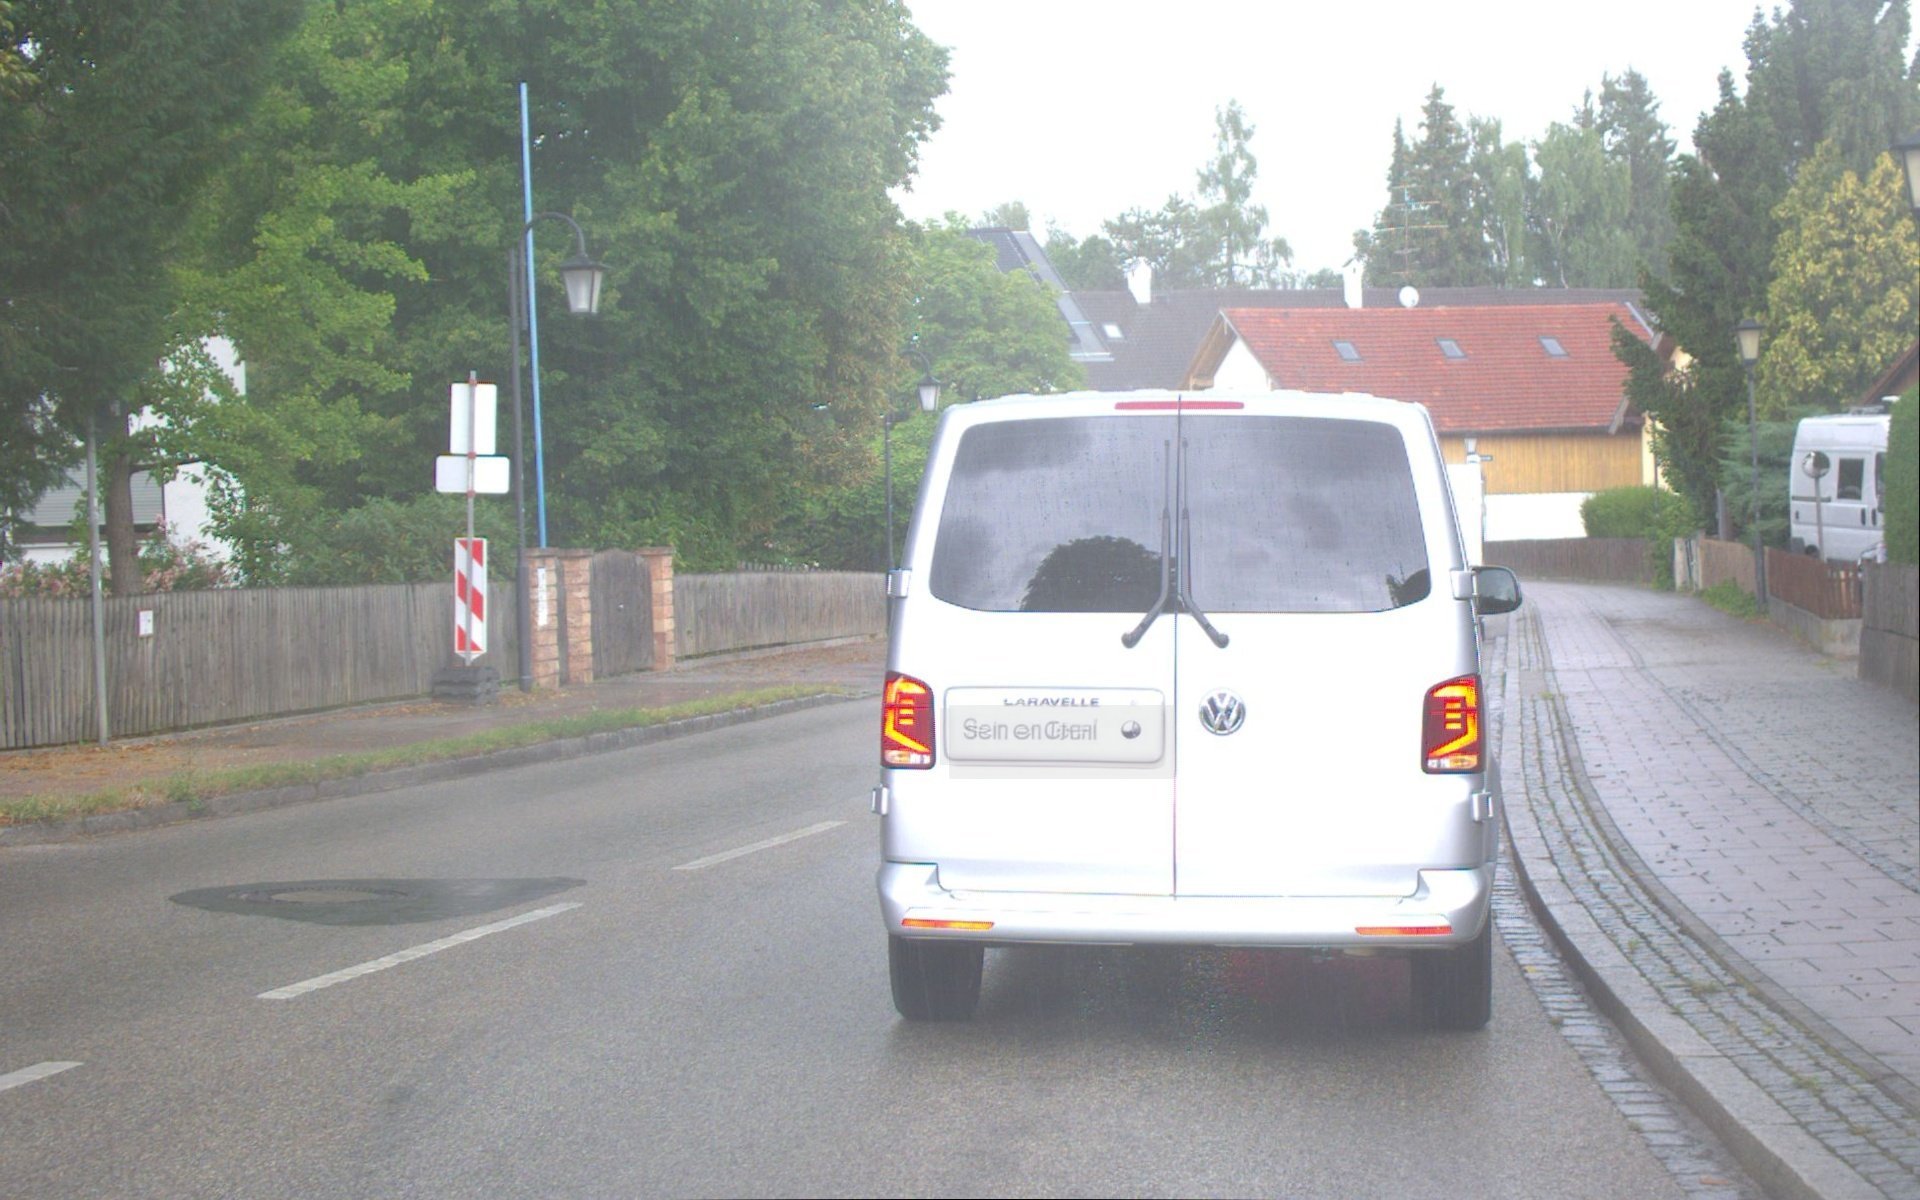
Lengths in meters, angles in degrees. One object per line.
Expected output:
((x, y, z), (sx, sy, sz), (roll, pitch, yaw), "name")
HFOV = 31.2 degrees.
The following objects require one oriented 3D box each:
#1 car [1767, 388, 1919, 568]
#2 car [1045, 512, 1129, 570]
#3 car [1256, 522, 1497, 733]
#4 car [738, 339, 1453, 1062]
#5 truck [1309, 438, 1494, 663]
((12.218, -1.514, 44.567), (1.993, 2.166, 4.954), (1, 0, -4), "car")
((4.482, -2.081, 121.691), (1.993, 2.007, 4.001), (1, 0, -12), "car")
((3.459, 0.196, 28.137), (1.801, 1.583, 3.999), (1, 0, 8), "car")
((0.646, 0.259, 11.679), (1.801, 2.007, 3.998), (1, 0, 11), "car")
((6.498, -0.698, 50.212), (2.476, 3.063, 6.294), (1, 0, 8), "truck")
